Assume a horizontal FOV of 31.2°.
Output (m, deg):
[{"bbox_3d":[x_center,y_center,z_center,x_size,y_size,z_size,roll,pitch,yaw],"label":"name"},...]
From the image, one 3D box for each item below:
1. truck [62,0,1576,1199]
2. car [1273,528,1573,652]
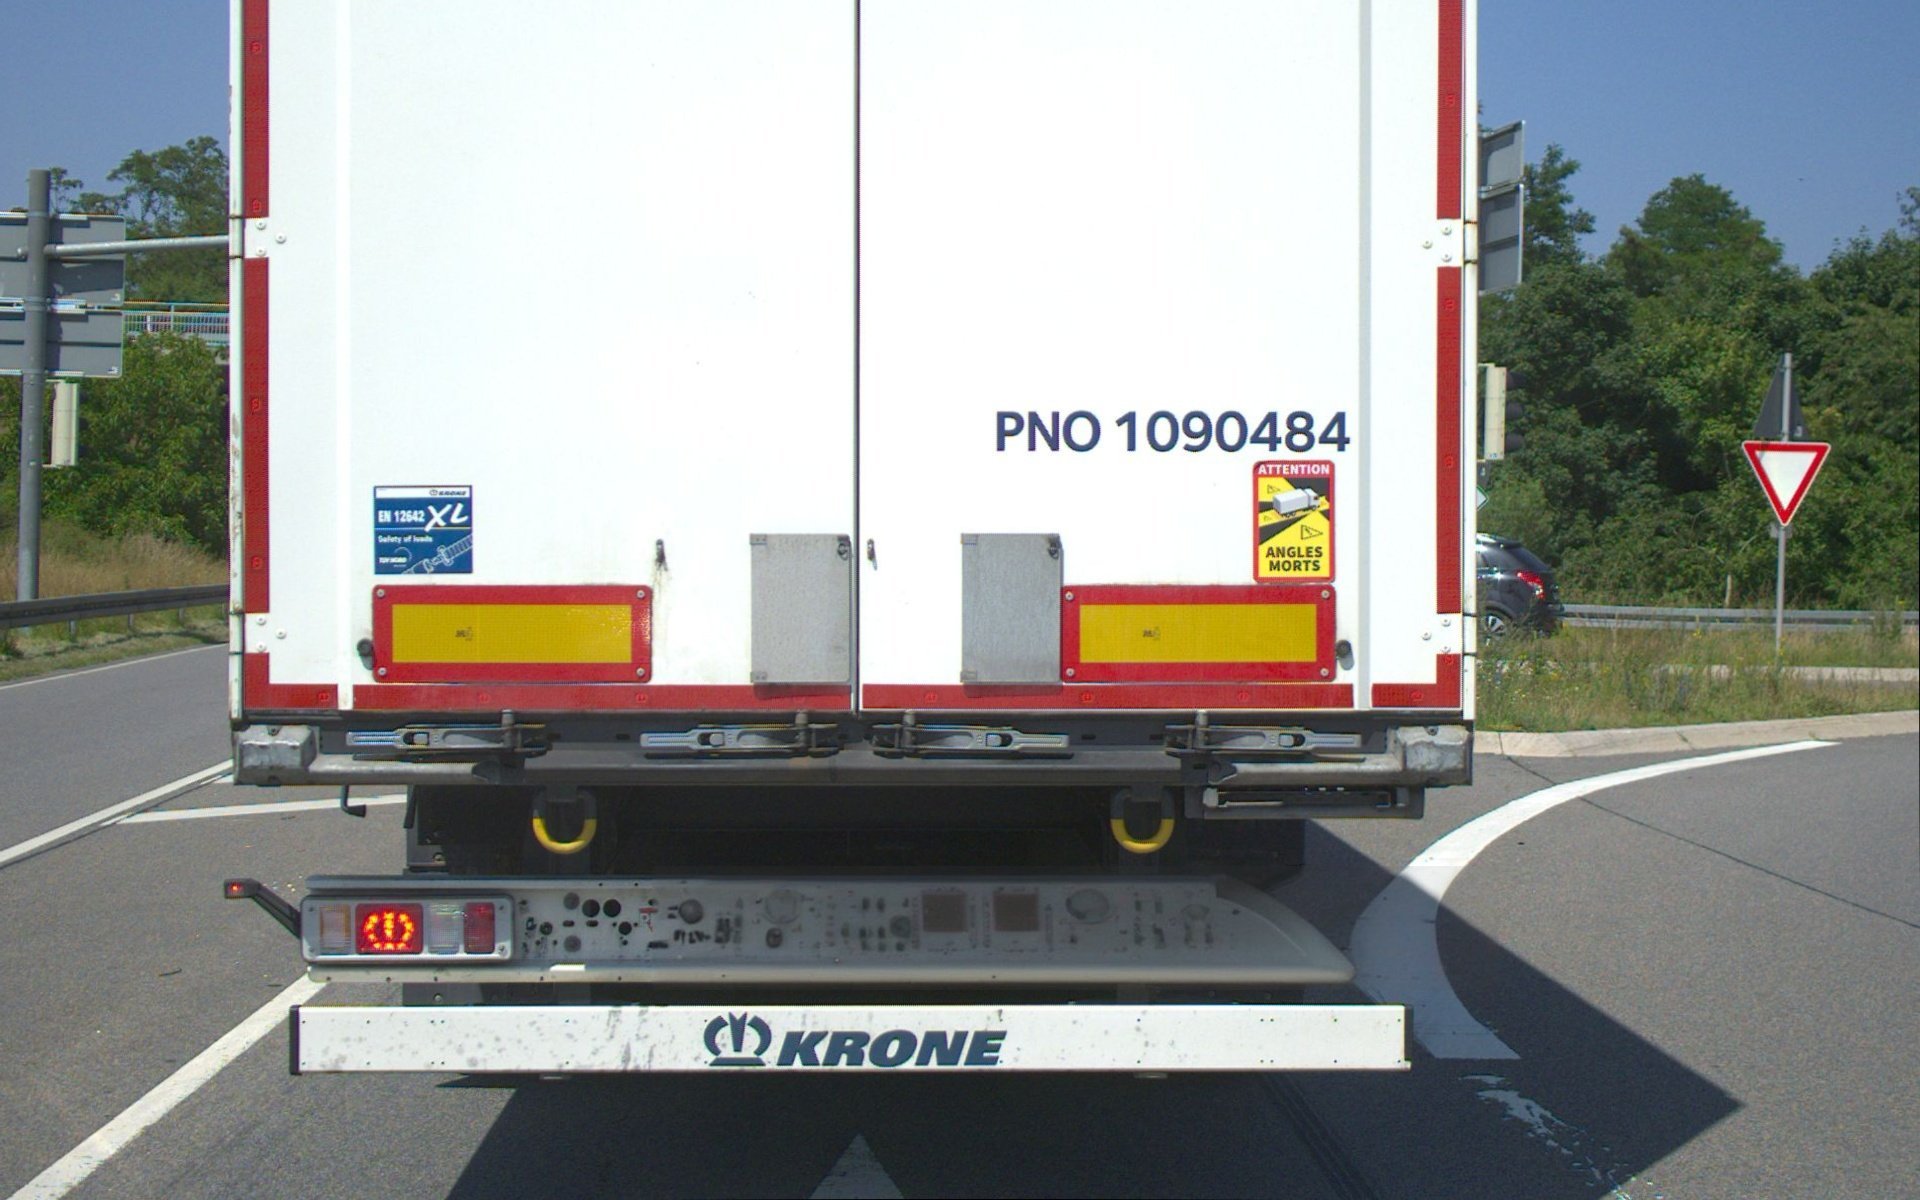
[{"bbox_3d":[-0.377,-0.656,11.762,2.987,3.928,9.876,0,1,-1],"label":"truck"},{"bbox_3d":[6.293,-0.143,47.089,3.986,1.634,1.841,1,0,5],"label":"car"}]
